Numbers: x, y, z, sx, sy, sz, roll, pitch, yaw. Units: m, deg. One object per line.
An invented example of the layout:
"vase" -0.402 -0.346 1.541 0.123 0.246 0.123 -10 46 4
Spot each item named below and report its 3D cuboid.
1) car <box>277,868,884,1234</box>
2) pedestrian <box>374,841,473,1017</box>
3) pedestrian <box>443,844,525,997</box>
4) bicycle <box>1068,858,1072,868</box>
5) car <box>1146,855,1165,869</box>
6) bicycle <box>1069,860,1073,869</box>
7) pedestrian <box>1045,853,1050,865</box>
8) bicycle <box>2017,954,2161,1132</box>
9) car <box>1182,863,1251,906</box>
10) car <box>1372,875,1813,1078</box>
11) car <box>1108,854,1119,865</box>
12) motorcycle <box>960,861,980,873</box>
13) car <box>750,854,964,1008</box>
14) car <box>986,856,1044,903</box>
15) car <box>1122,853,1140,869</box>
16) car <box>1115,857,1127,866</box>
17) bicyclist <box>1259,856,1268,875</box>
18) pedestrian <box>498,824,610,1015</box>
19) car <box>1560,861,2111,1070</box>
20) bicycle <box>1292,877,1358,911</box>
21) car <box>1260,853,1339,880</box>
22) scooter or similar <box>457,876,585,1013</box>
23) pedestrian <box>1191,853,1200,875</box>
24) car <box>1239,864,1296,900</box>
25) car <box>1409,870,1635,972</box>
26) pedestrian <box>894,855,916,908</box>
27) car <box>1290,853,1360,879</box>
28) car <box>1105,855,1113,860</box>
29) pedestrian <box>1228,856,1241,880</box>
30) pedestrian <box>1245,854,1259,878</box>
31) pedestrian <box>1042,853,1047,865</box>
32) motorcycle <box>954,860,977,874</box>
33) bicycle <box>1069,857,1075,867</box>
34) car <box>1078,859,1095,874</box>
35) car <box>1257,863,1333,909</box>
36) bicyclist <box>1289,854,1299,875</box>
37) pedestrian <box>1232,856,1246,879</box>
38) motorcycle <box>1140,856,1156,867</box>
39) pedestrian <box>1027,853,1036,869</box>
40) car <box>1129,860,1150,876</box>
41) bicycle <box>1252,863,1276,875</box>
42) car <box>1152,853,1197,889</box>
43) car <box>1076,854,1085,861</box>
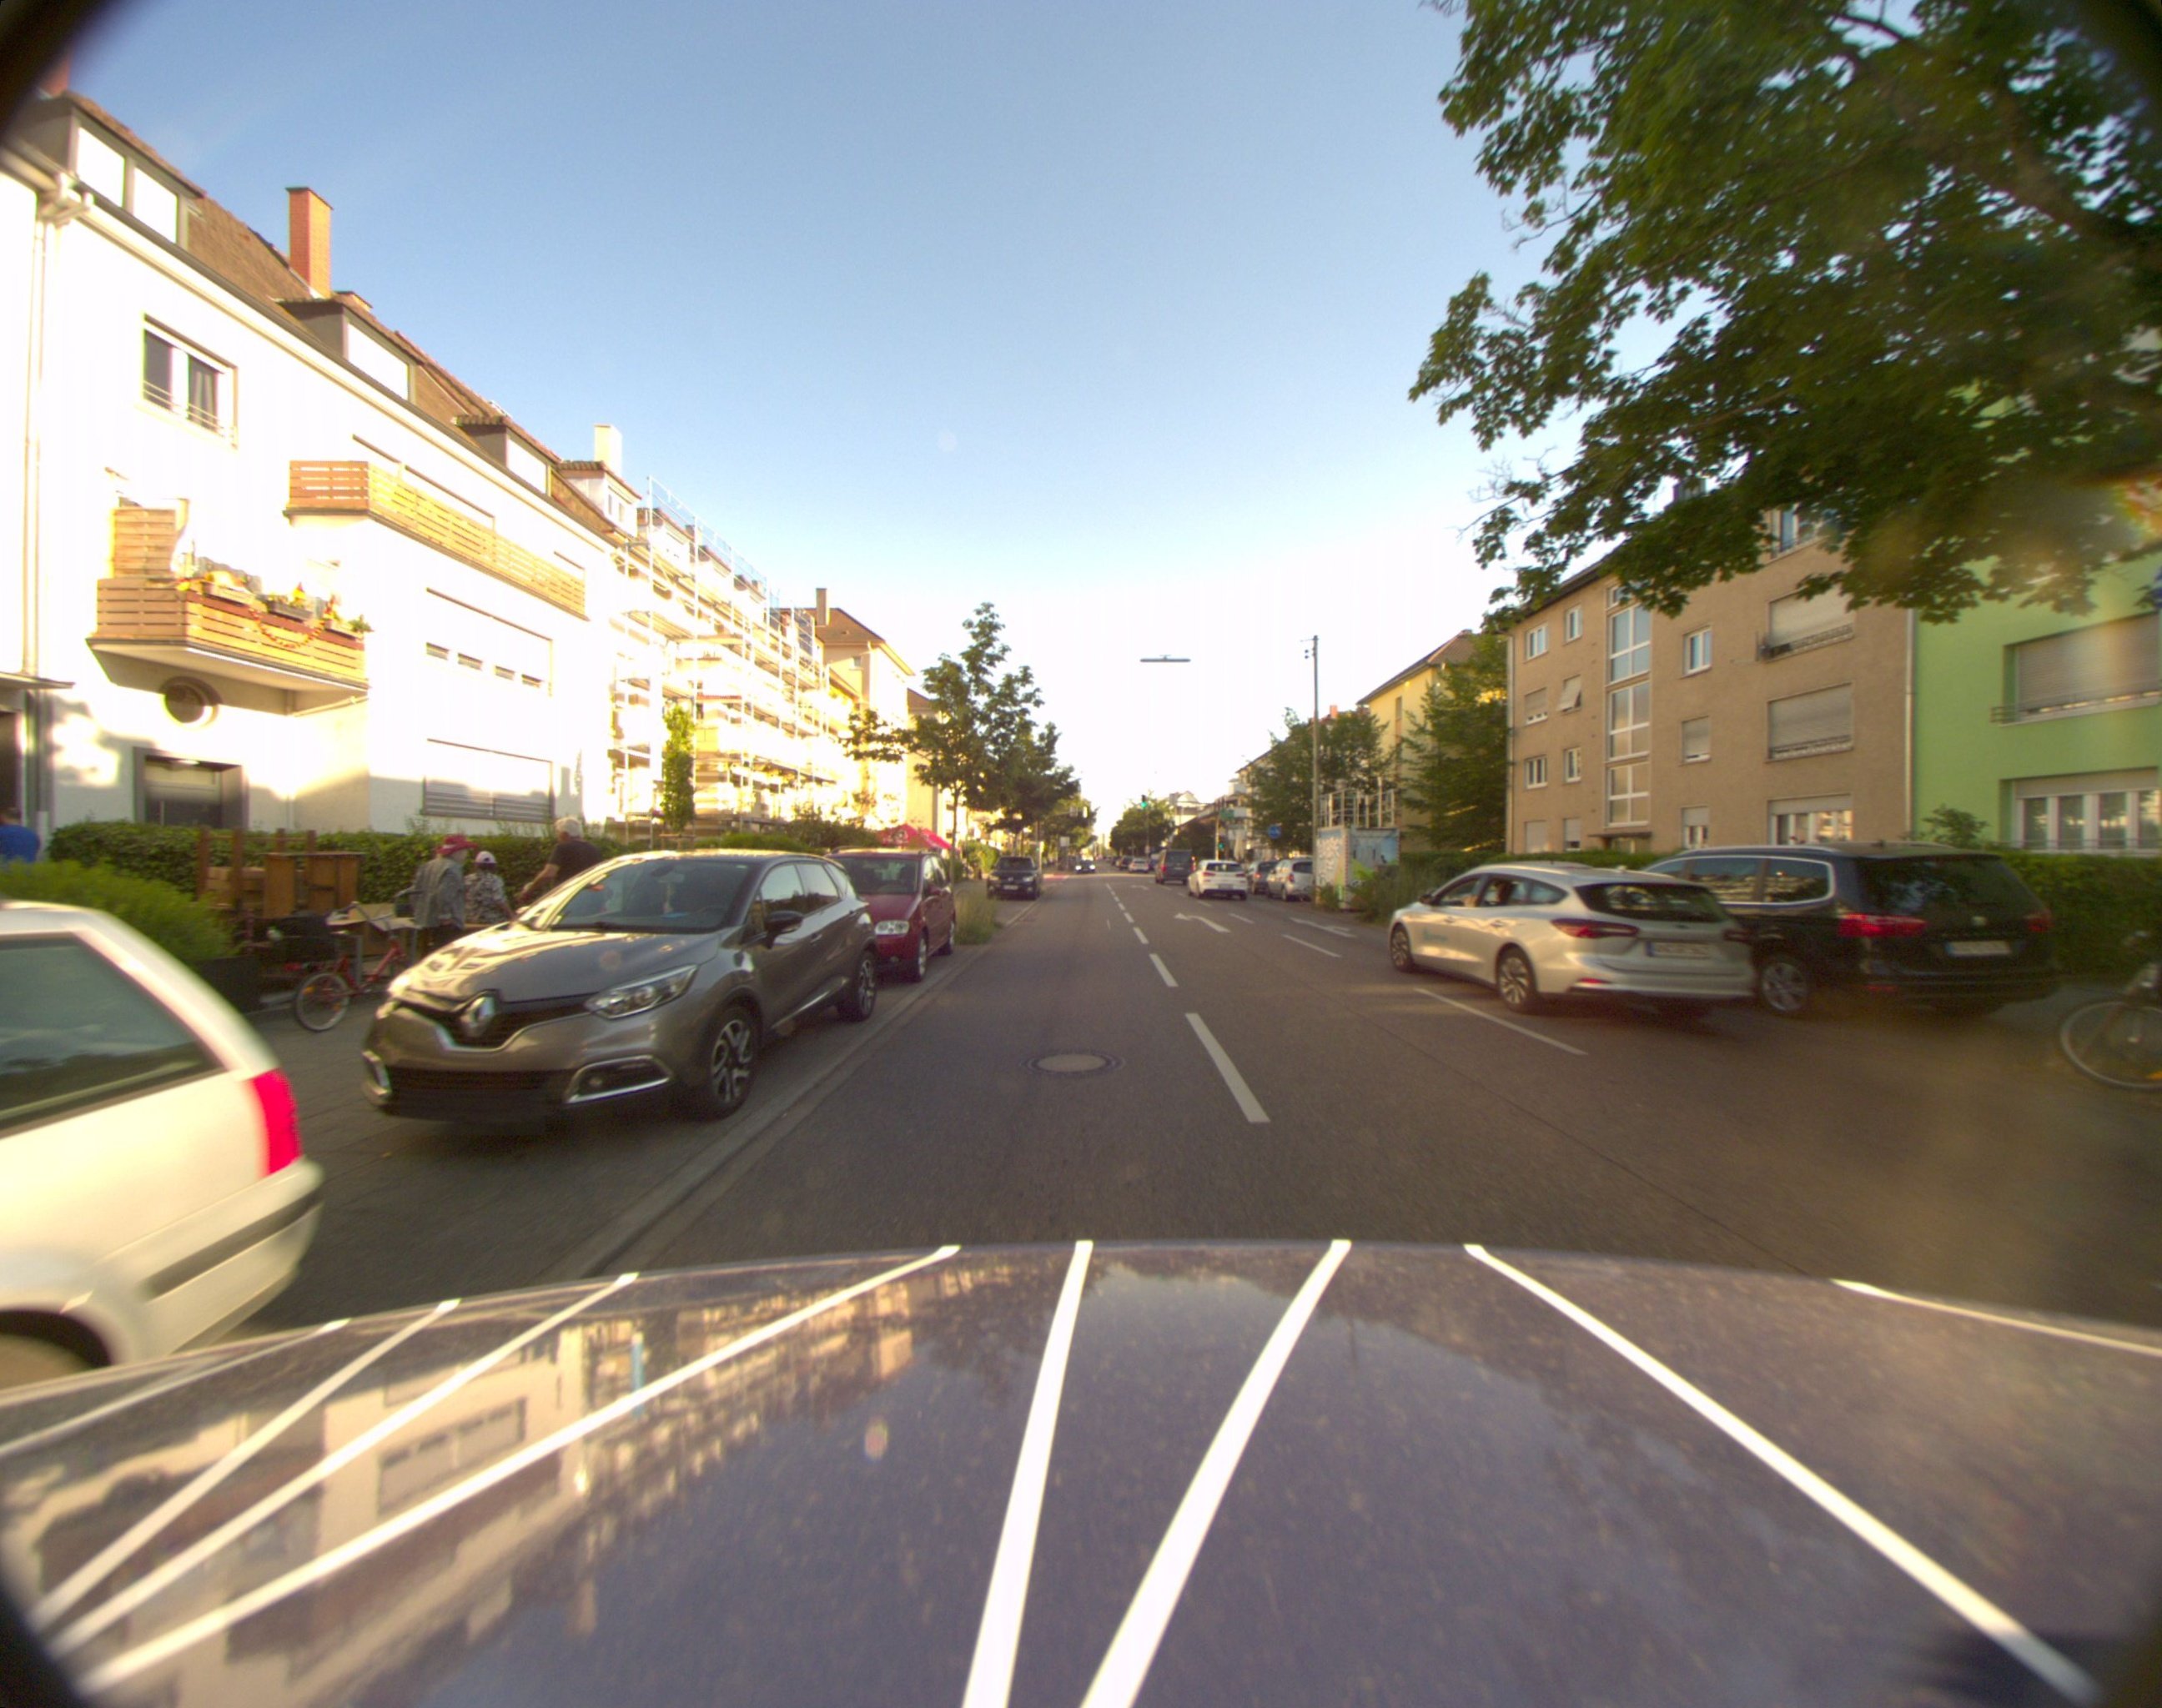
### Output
"car" -2.786 0.928 5.436 1.641 1.559 4.000 1 0 1
"pedestrian" -6.507 0.721 7.543 0.512 1.687 0.527 0 0 -4
"pedestrian" -6.780 0.733 8.644 0.512 1.687 0.527 0 0 -4
"bicycle" -1.271 1.013 87.033 0.325 1.138 1.800 0 0 -4
"car" 8.908 0.983 91.226 1.810 1.604 3.950 0 0 -2
"bicycle" -1.151 1.220 89.649 0.325 0.981 1.191 0 0 5
"pedestrian" -4.916 0.723 112.217 0.659 1.673 0.831 1 1 6
"bicycle" 7.699 1.272 5.260 1.679 1.083 0.560 -1 0 2
"car" 5.130 1.111 29.201 1.820 1.438 4.110 2 0 -1
"car" 5.055 1.073 8.463 1.837 1.462 4.451 3 0 0
"car" 5.837 0.923 136.401 1.842 1.866 4.409 0 0 0
"motorcycle" -10.172 1.200 69.698 1.698 1.105 0.594 -1 1 1
"car" -2.762 0.831 10.486 1.726 1.646 4.597 0 0 -2
"car" -2.415 0.885 28.591 1.796 1.622 4.029 1 0 0
"car" 6.079 0.821 93.059 1.866 1.819 5.227 2 0 1
"car" 6.355 1.222 120.230 1.845 1.312 4.442 1 0 2
"bicyclist" 15.949 1.014 66.435 0.672 1.643 0.751 0 -1 11
"pedestrian" -5.326 0.631 7.709 0.549 1.838 0.765 1 1 8
"car" 7.802 0.959 8.711 1.788 1.722 4.617 0 0 1
"bicycle" 8.221 1.347 25.668 2.010 1.083 0.583 -2 0 2
"car" 14.267 0.783 49.690 4.603 1.604 1.843 -2 0 -2
"scooter or similar" -5.698 0.892 7.766 0.748 1.309 0.721 0 0 7
"pedestrian" 10.372 0.900 68.804 0.645 2.002 0.814 -1 2 2
"car" 8.133 1.179 33.383 1.657 1.470 3.943 0 0 2
"car" 7.820 1.088 14.004 1.687 1.512 4.190 0 0 -1
"pedestrian" -5.225 0.806 22.541 0.558 1.559 0.747 0 0 -17
"car" 17.914 0.882 55.913 4.483 1.837 1.908 0 0 0
"car" 8.523 1.097 234.860 1.843 1.604 4.407 0 0 -6
"pedestrian" 10.374 0.923 51.342 0.608 1.585 0.749 -4 1 -2
"pedestrian" 11.803 0.818 52.314 0.607 1.620 0.751 -2 2 37
"pedestrian" -5.290 0.713 110.342 0.659 1.673 0.831 1 1 6
"motorcycle" -10.419 1.161 68.765 1.992 1.194 0.774 -1 1 -12
"bicycle" -1.077 1.000 92.668 0.324 1.138 1.802 0 0 14
"car" 0.551 1.239 78.759 1.641 1.481 4.415 1 0 0
"car" 7.876 1.142 28.305 1.641 1.543 3.785 0 0 -2
"bicyclist" 17.472 0.866 62.283 0.608 1.711 0.750 0 -1 -5
"pedestrian" 11.018 0.934 52.974 0.750 1.647 0.608 0 1 -6
"motorcycle" 8.895 0.973 100.355 1.263 1.526 2.887 0 0 -13
"pedestrian" -5.276 0.712 80.430 0.830 1.673 0.660 1 1 5
"car" 5.913 1.386 77.298 1.841 1.465 4.671 1 0 1
"bicycle" 15.980 1.311 66.431 1.996 1.082 0.729 0 -1 10
"car" 5.376 0.939 44.277 1.998 1.934 4.777 2 0 0
"car" -0.095 0.720 153.871 1.744 1.508 3.811 0 0 3
